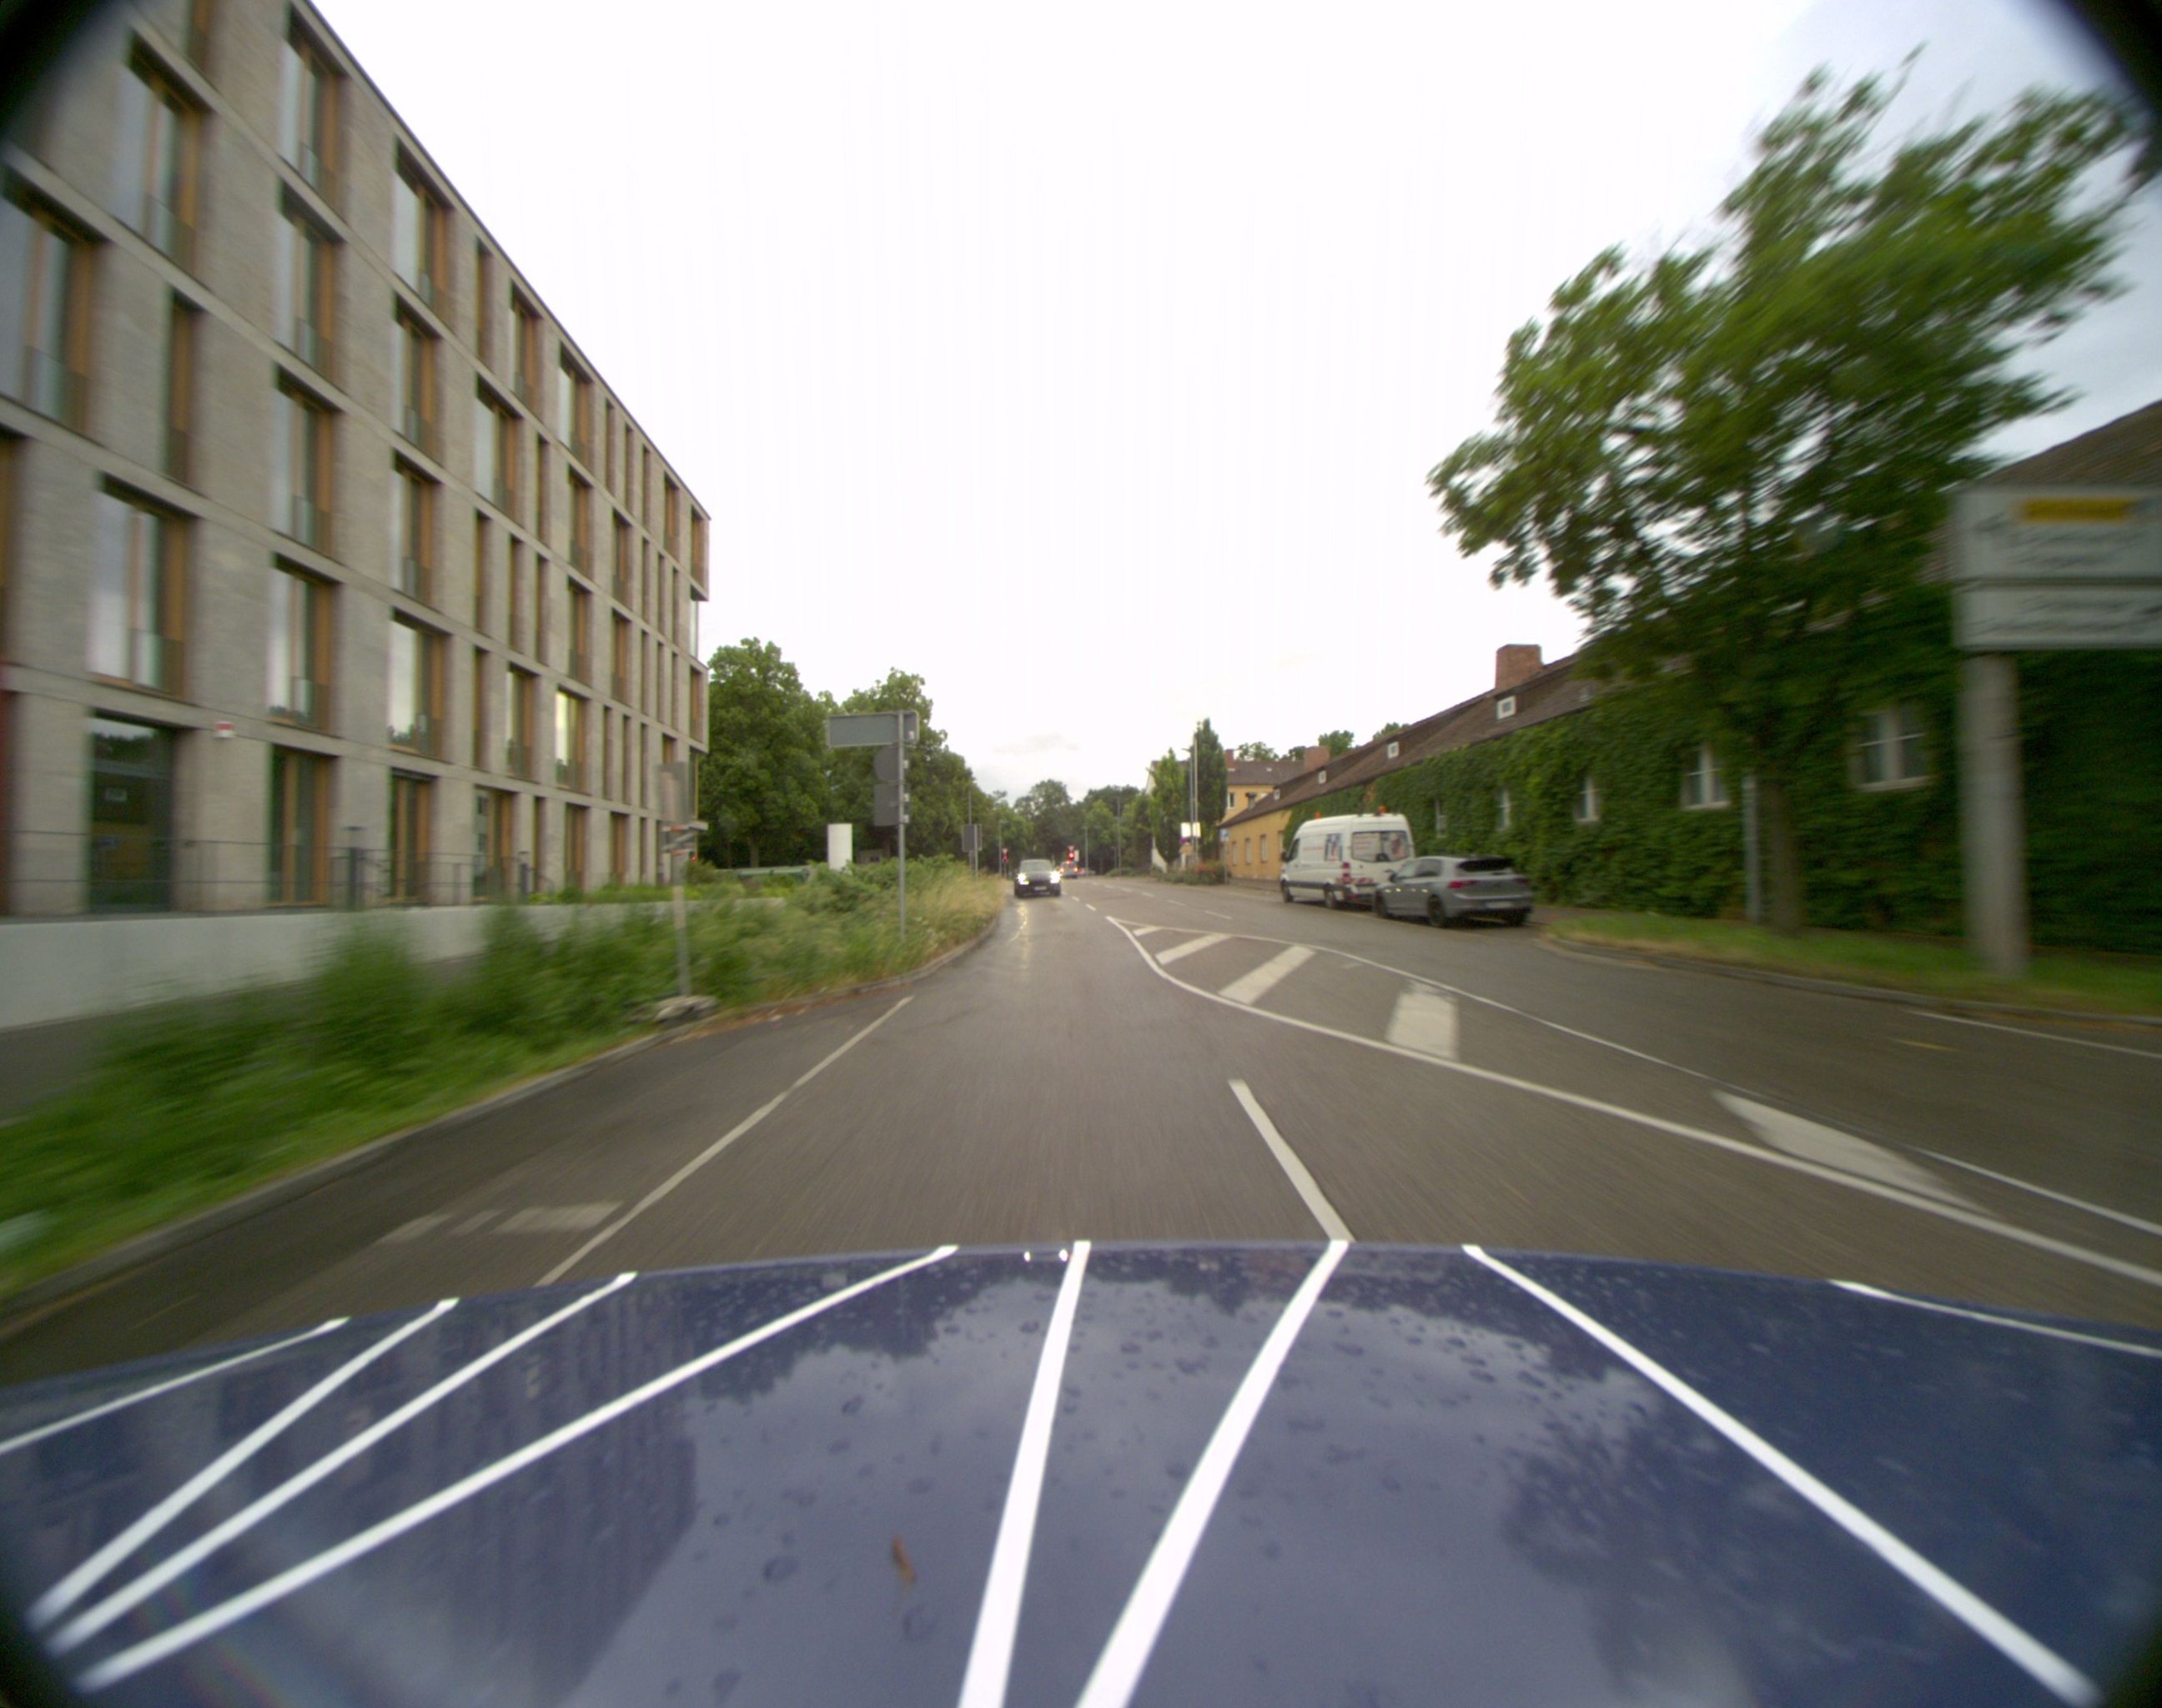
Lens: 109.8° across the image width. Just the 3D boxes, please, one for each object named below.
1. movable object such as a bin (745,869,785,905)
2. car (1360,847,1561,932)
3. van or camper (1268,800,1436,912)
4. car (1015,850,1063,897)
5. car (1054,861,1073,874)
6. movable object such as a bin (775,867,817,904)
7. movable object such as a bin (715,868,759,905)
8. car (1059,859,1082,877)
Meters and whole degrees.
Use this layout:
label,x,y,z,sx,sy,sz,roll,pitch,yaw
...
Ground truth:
label,x,y,z,sx,sy,sz,roll,pitch,yaw
movable object such as a bin,-13.700,1.425,32.979,1.100,1.391,1.150,-5,1,3
car,7.907,0.652,16.401,1.999,1.504,4.422,-2,0,-2
van or camper,7.689,0.081,22.481,2.347,2.748,6.140,-3,0,-3
car,-2.045,0.864,35.501,1.849,1.961,4.341,-3,0,-7
car,-2.092,1.584,90.203,1.888,1.449,4.467,-3,0,-7
movable object such as a bin,-12.390,1.344,33.087,1.249,1.449,1.111,-5,1,4
movable object such as a bin,-14.979,1.405,33.132,1.199,1.495,1.387,-2,1,2
car,-1.078,1.377,78.518,1.900,1.695,4.507,-3,0,-6
